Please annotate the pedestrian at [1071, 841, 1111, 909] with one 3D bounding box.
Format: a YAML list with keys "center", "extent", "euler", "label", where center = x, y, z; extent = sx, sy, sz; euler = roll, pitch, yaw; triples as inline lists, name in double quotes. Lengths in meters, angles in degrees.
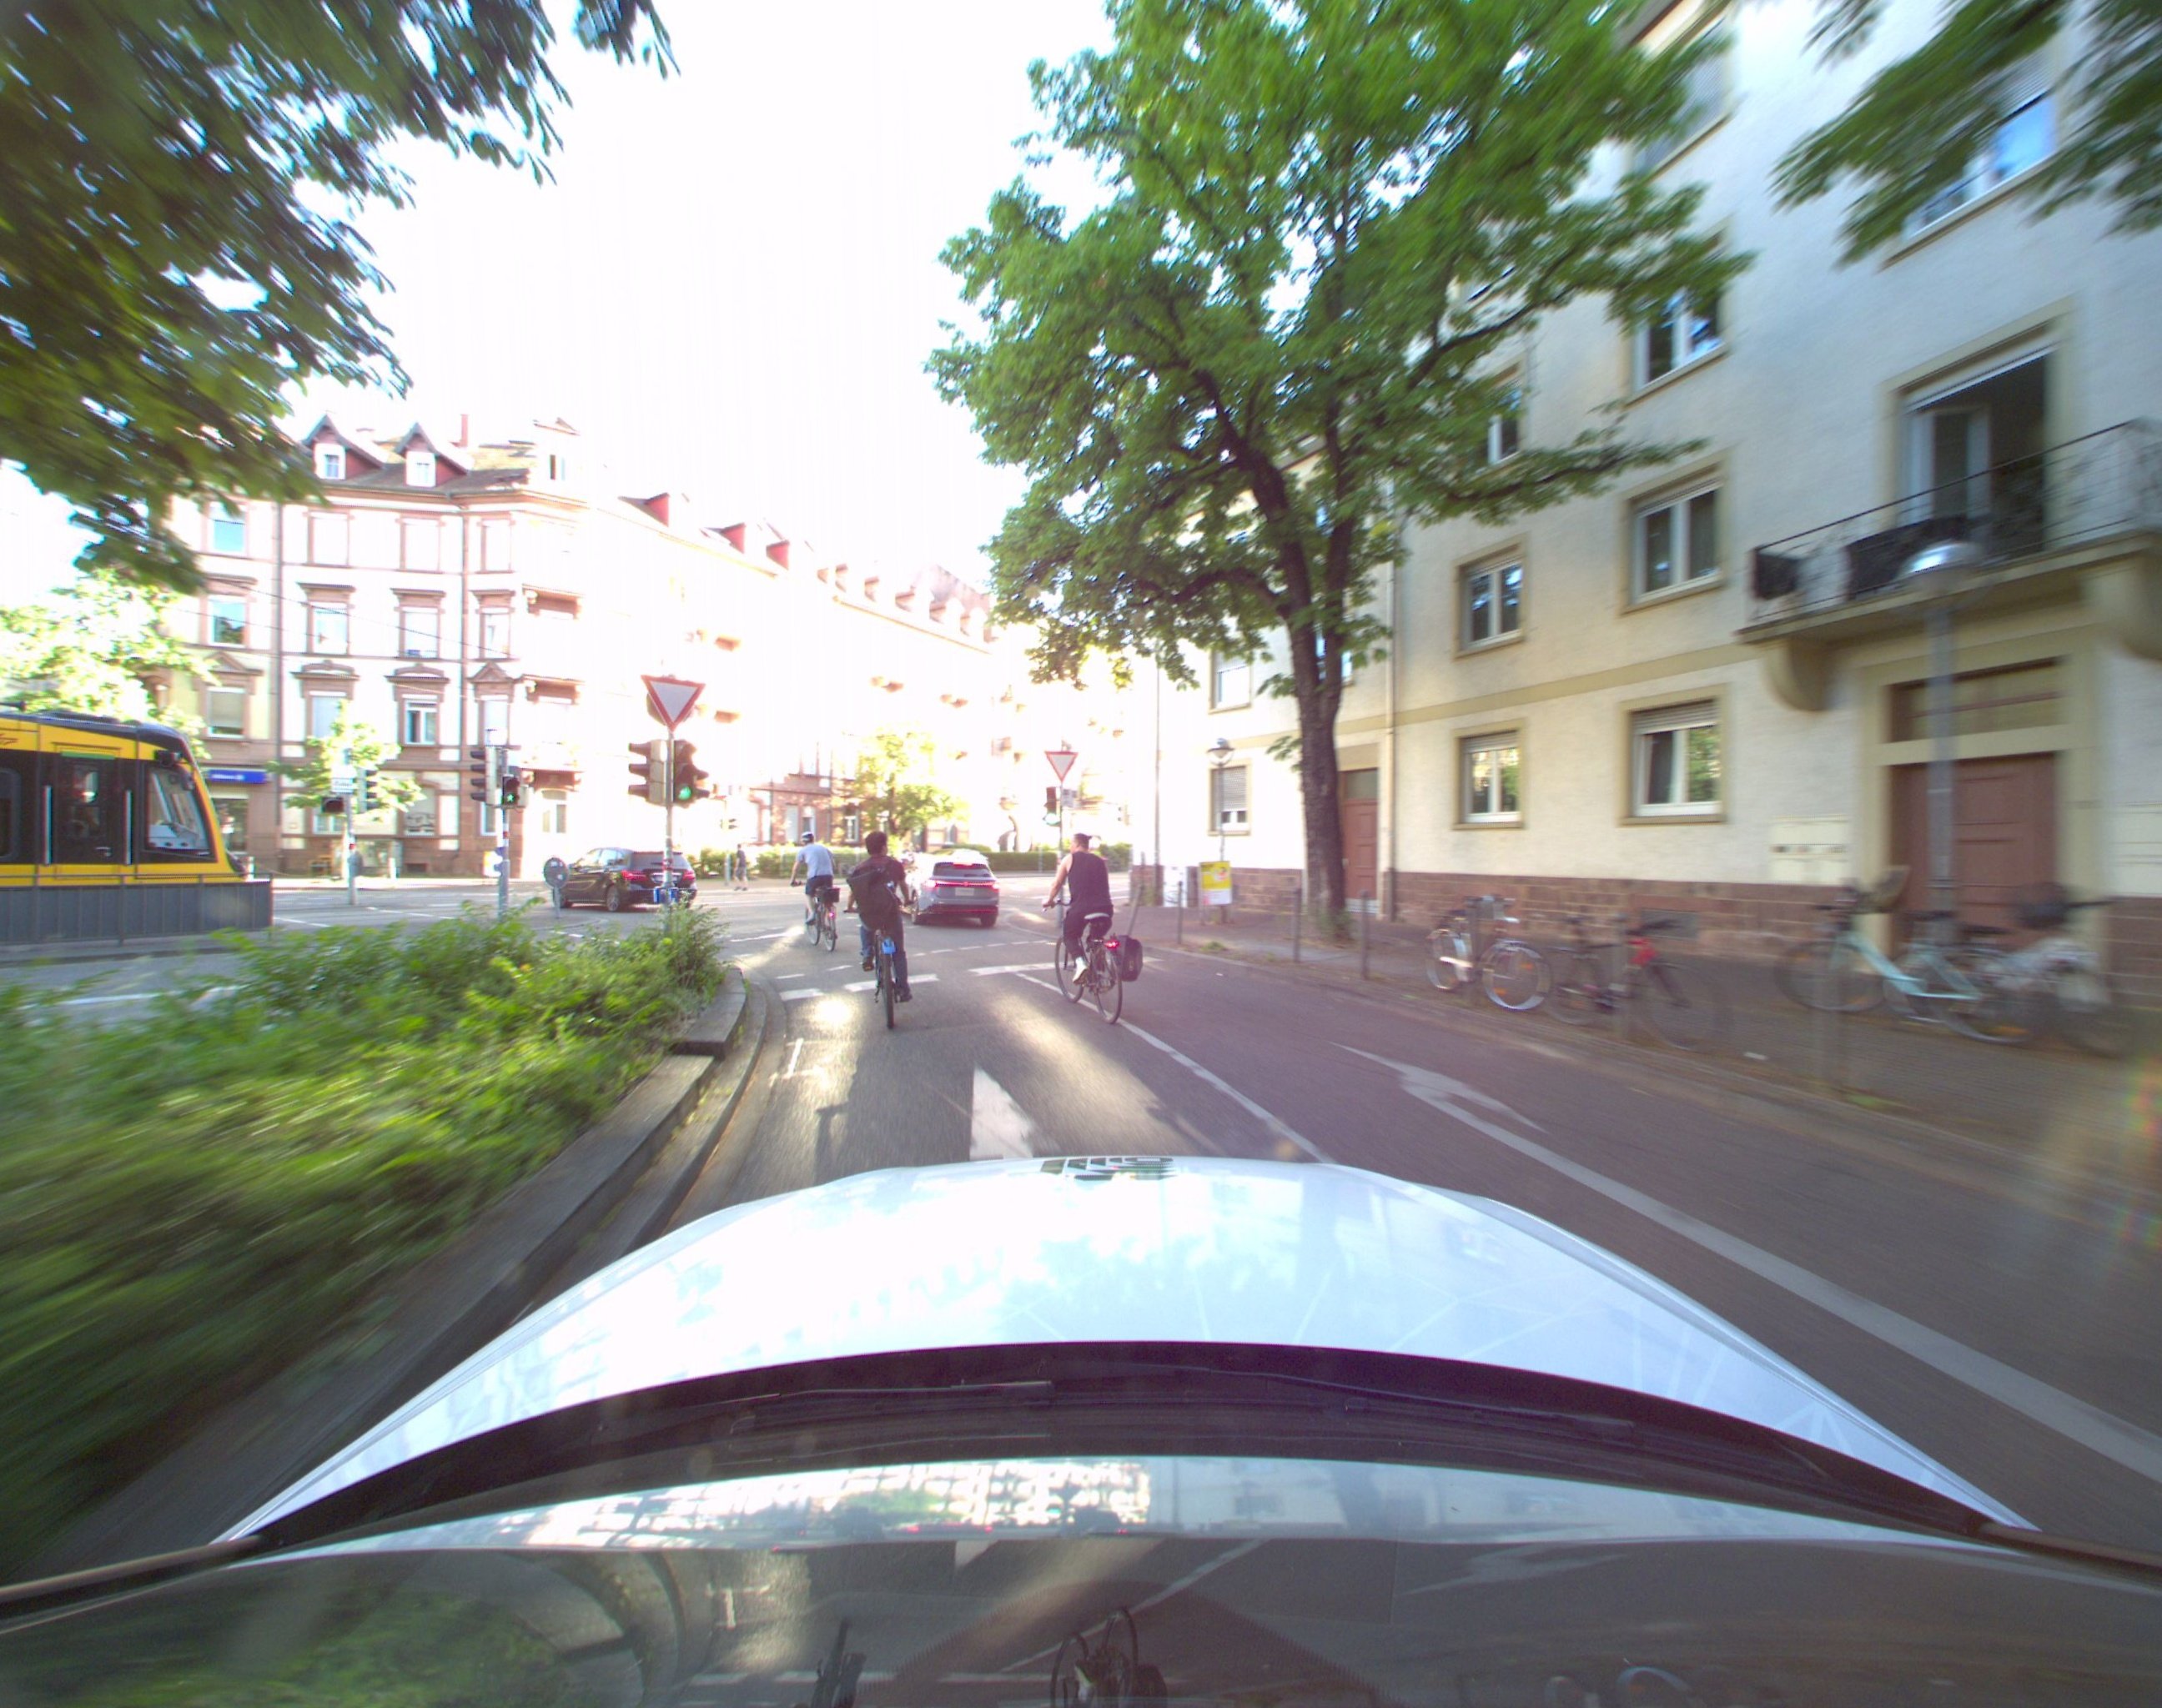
- center: [0.267, 0.549, 21.667]
  extent: [0.647, 1.727, 0.879]
  euler: [-2, 1, -32]
  label: "pedestrian"

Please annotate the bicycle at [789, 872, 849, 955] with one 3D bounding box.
- center: [-4.308, 0.912, 13.291]
  extent: [0.813, 1.185, 2.211]
  euler: [0, 0, -21]
  label: "bicycle"

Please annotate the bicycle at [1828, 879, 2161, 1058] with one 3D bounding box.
- center: [7.082, 0.780, 6.326]
  extent: [0.666, 1.107, 1.963]
  euler: [1, 0, -4]
  label: "bicycle"

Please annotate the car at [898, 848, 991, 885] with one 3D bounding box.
- center: [-6.489, 0.551, 39.096]
  extent: [1.923, 1.650, 4.438]
  euler: [0, 0, 32]
  label: "car"

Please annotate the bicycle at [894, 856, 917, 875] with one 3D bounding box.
- center: [-9.529, 0.626, 44.253]
  extent: [0.437, 1.038, 1.241]
  euler: [1, 1, 36]
  label: "bicycle"

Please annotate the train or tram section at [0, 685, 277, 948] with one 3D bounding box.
- center: [-17.693, -0.546, 9.203]
  extent: [2.765, 3.619, 11.874]
  euler: [1, 0, 31]
  label: "train or tram section"

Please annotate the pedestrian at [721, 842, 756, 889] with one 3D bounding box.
- center: [-12.454, 0.414, 29.643]
  extent: [0.899, 1.635, 0.725]
  euler: [2, 1, 0]
  label: "pedestrian"

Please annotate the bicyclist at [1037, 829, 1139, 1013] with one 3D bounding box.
- center: [0.046, 0.600, 7.922]
  extent: [0.688, 1.656, 0.983]
  euler: [-1, 0, -19]
  label: "bicyclist"

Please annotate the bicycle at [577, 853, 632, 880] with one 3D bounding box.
- center: [-20.199, 0.539, 34.561]
  extent: [1.969, 1.107, 0.439]
  euler: [2, -1, -25]
  label: "bicycle"

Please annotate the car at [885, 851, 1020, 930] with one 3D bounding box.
- center: [-3.150, 0.780, 19.116]
  extent: [1.979, 1.585, 4.439]
  euler: [3, -1, -24]
  label: "car"

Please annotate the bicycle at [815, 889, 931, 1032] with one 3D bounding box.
- center: [-1.934, 0.942, 7.840]
  extent: [0.715, 1.107, 1.964]
  euler: [1, 0, -4]
  label: "bicycle"

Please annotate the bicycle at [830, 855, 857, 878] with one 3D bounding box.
- center: [-11.942, 0.620, 40.991]
  extent: [0.437, 1.107, 1.241]
  euler: [1, 1, 37]
  label: "bicycle"

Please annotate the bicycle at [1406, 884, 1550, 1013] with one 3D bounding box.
- center: [3.951, 0.892, 8.248]
  extent: [0.480, 1.063, 1.632]
  euler: [-2, 1, -7]
  label: "bicycle"

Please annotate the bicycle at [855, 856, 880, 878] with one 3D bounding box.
- center: [-11.053, 0.661, 42.117]
  extent: [0.437, 1.107, 1.241]
  euler: [1, 1, 37]
  label: "bicycle"

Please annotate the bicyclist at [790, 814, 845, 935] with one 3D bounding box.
- center: [-4.374, 0.321, 13.473]
  extent: [0.797, 1.913, 0.938]
  euler: [1, 0, -21]
  label: "bicyclist"

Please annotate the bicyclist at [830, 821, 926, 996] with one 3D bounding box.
- center: [-1.917, 0.495, 7.811]
  extent: [0.705, 1.573, 0.956]
  euler: [1, 0, -3]
  label: "bicyclist"

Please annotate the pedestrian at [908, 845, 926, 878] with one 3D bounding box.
- center: [-8.645, 0.401, 42.992]
  extent: [0.655, 1.715, 0.640]
  euler: [0, 0, 45]
  label: "pedestrian"

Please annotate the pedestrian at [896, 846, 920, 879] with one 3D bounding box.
- center: [-8.842, 0.438, 41.657]
  extent: [0.903, 1.664, 0.704]
  euler: [1, 2, -42]
  label: "pedestrian"

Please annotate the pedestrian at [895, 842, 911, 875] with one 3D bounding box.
- center: [-9.429, 0.244, 43.235]
  extent: [0.515, 1.715, 0.640]
  euler: [0, 0, 44]
  label: "pedestrian"

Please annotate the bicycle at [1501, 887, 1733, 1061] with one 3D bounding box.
- center: [4.244, 0.882, 6.619]
  extent: [0.526, 1.107, 1.735]
  euler: [-2, 1, -9]
  label: "bicycle"

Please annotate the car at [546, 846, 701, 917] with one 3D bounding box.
- center: [-11.128, 0.603, 19.758]
  extent: [3.810, 1.542, 1.807]
  euler: [0, 1, 35]
  label: "car"

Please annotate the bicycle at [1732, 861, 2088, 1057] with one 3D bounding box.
- center: [6.393, 0.711, 6.483]
  extent: [0.716, 1.277, 1.963]
  euler: [-1, 0, -6]
  label: "bicycle"
